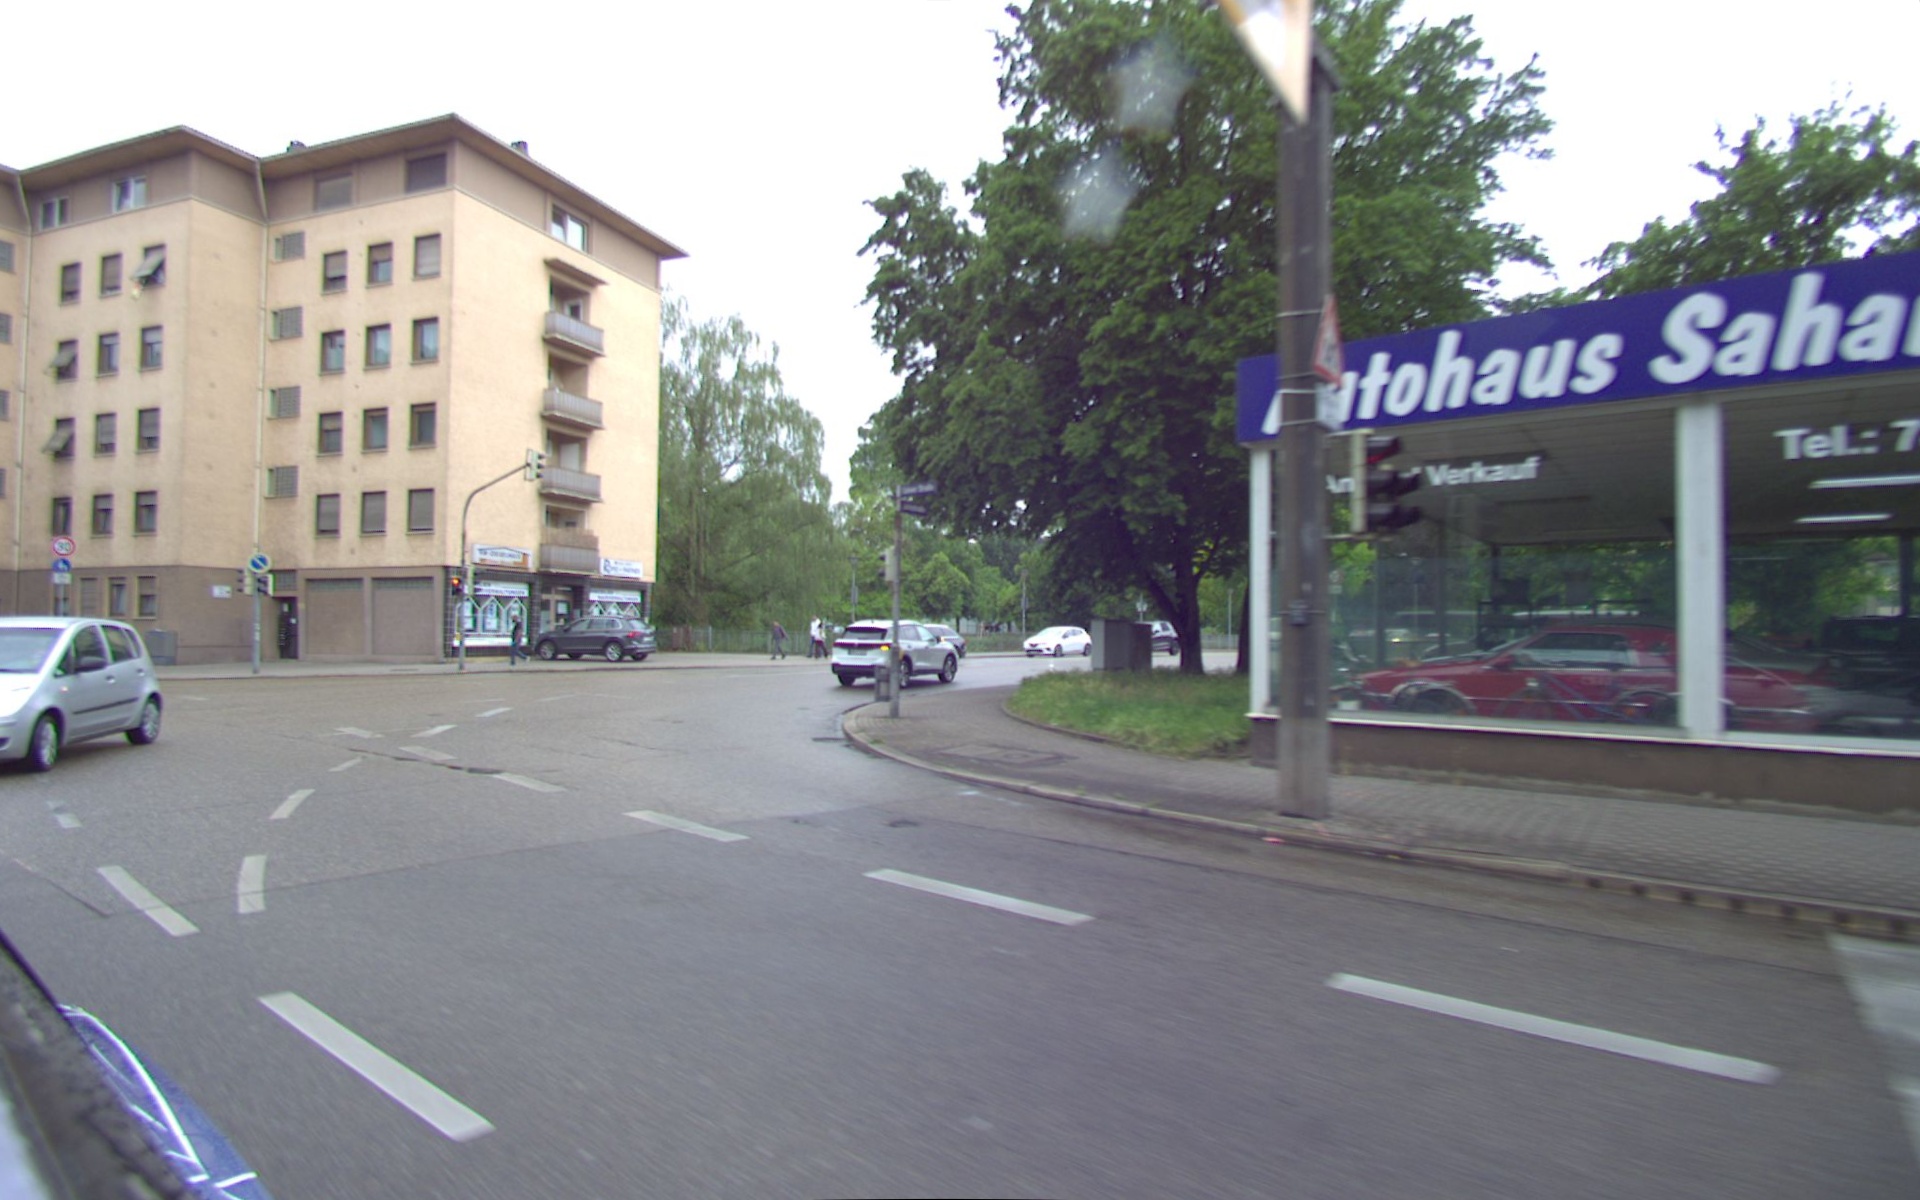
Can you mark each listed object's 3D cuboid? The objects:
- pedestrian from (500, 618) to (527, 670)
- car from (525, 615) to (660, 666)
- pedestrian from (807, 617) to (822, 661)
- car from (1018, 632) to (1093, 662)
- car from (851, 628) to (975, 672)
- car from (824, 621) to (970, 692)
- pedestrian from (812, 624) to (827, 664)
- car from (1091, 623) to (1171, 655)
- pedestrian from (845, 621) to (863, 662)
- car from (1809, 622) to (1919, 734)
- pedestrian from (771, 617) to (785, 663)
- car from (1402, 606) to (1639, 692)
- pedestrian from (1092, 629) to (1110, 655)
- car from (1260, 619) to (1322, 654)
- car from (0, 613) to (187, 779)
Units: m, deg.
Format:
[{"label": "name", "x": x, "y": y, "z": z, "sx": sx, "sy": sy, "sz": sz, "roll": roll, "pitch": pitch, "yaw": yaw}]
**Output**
[{"label": "pedestrian", "x": -14.412, "y": 1.412, "z": 32.646, "sx": 0.618, "sy": 1.651, "sz": 0.573, "roll": -2, "pitch": -3, "yaw": 44}, {"label": "car", "x": -13.100, "y": 1.414, "z": 36.101, "sx": 4.240, "sy": 1.660, "sz": 1.752, "roll": 1, "pitch": -1, "yaw": 14}, {"label": "pedestrian", "x": -6.020, "y": 1.620, "z": 41.913, "sx": 0.500, "sy": 1.817, "sz": 0.499, "roll": 1, "pitch": -2, "yaw": -25}, {"label": "car", "x": 4.564, "y": 2.202, "z": 48.129, "sx": 1.651, "sy": 1.319, "sz": 3.946, "roll": -1, "pitch": -2, "yaw": 40}, {"label": "car", "x": -1.606, "y": 1.747, "z": 36.138, "sx": 1.998, "sy": 1.474, "sz": 4.447, "roll": -1, "pitch": -2, "yaw": 39}, {"label": "car", "x": -1.525, "y": 1.423, "z": 26.416, "sx": 1.835, "sy": 1.684, "sz": 4.432, "roll": -1, "pitch": -3, "yaw": 27}, {"label": "pedestrian", "x": -5.632, "y": 1.769, "z": 40.657, "sx": 0.458, "sy": 1.595, "sz": 0.440, "roll": 0, "pitch": -2, "yaw": 14}, {"label": "car", "x": 8.097, "y": 1.815, "z": 47.674, "sx": 1.998, "sy": 1.448, "sz": 3.947, "roll": -1, "pitch": -2, "yaw": 40}, {"label": "pedestrian", "x": -4.353, "y": 1.714, "z": 41.647, "sx": 0.691, "sy": 1.659, "sz": 0.661, "roll": 0, "pitch": -2, "yaw": -8}, {"label": "car", "x": 13.096, "y": 1.026, "z": 14.228, "sx": 1.628, "sy": 1.402, "sz": 3.616, "roll": -1, "pitch": -2, "yaw": 38}, {"label": "pedestrian", "x": -7.241, "y": 1.590, "z": 40.263, "sx": 0.550, "sy": 1.817, "sz": 0.477, "roll": 0, "pitch": -2, "yaw": -11}, {"label": "car", "x": 13.172, "y": 1.125, "z": 23.925, "sx": 4.731, "sy": 1.844, "sz": 1.959, "roll": -1, "pitch": -3, "yaw": 34}, {"label": "pedestrian", "x": 8.040, "y": 2.391, "z": 57.747, "sx": 0.790, "sy": 1.485, "sz": 0.696, "roll": -2, "pitch": -3, "yaw": 43}, {"label": "car", "x": 20.010, "y": 2.252, "z": 61.134, "sx": 2.216, "sy": 2.017, "sz": 4.318, "roll": -1, "pitch": -4, "yaw": 39}, {"label": "car", "x": -10.227, "y": 0.943, "z": 10.868, "sx": 1.724, "sy": 1.530, "sz": 4.011, "roll": -1, "pitch": -1, "yaw": -16}]
